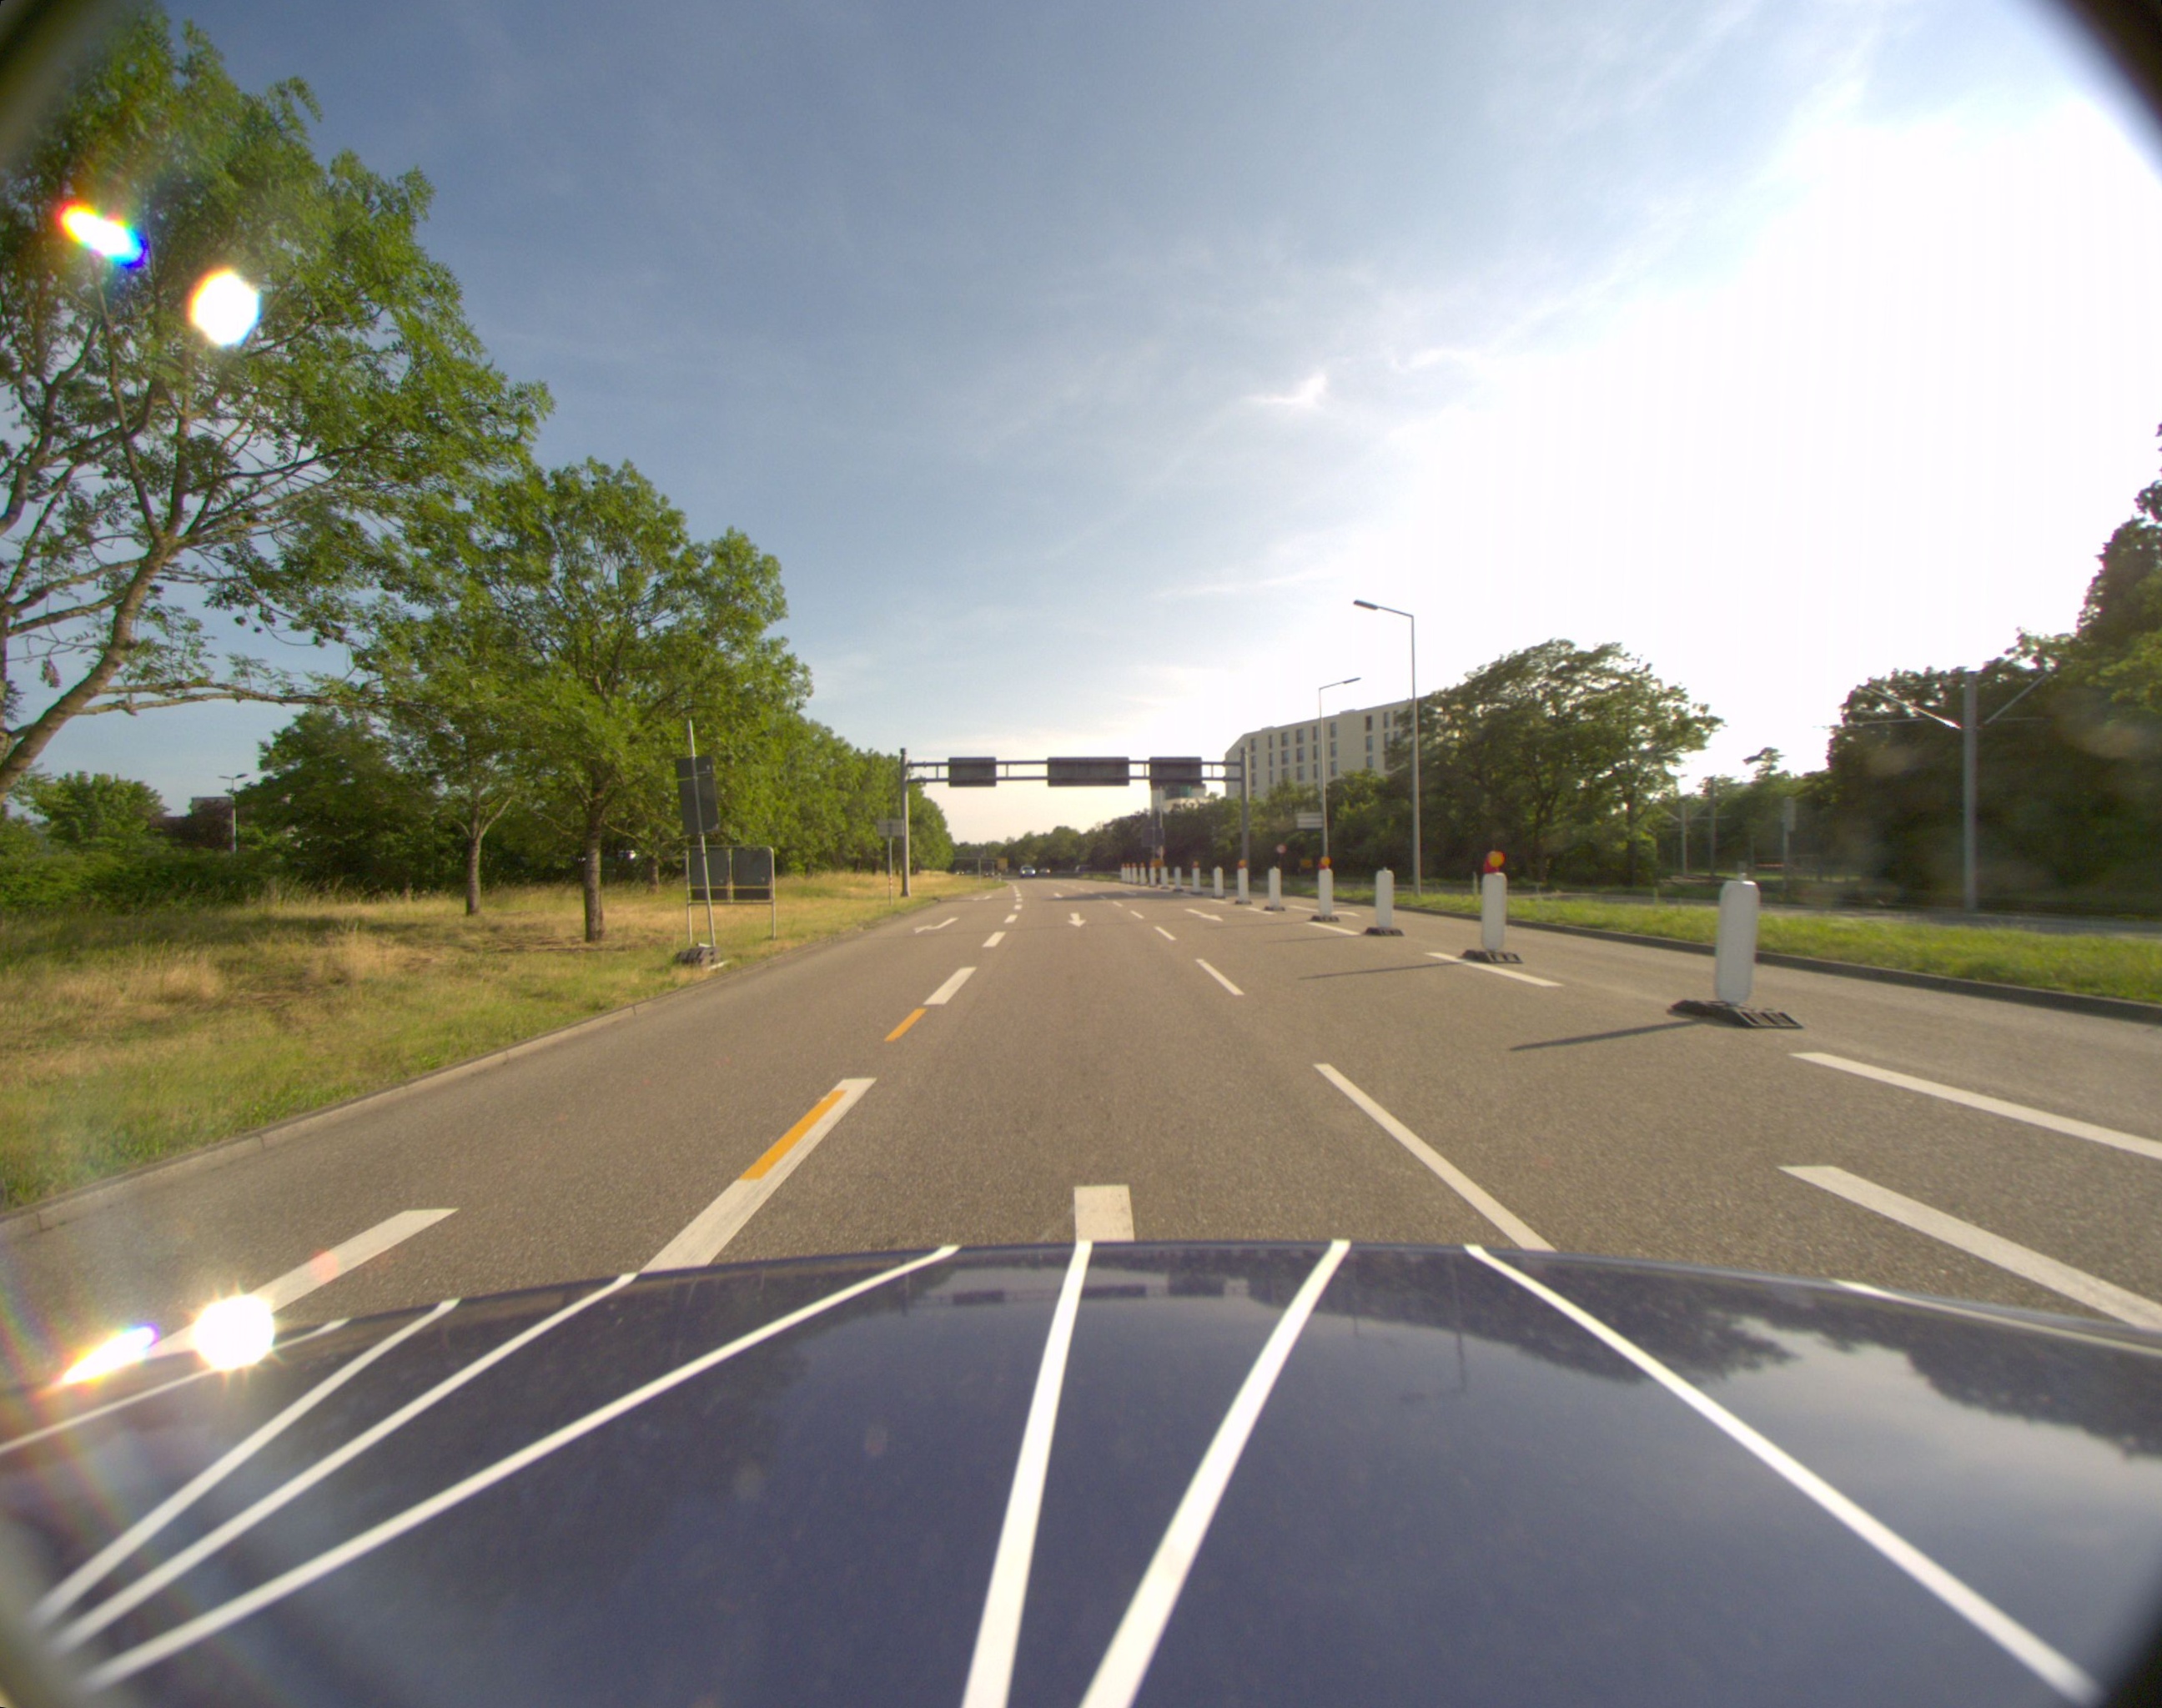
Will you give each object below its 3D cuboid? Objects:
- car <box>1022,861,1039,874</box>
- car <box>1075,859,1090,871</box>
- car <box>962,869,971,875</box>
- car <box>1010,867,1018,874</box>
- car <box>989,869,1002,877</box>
[{"bbox_3d":[-7.583,1.996,113.689,1.903,1.813,4.351,-2,0,-13],"label":"car"},{"bbox_3d":[0.256,1.769,118.054,1.790,1.796,4.121,-1,-1,-7],"label":"car"},{"bbox_3d":[-32.216,4.991,213.927,1.897,1.447,3.904,-1,0,-14],"label":"car"},{"bbox_3d":[-16.521,4.081,187.142,1.737,1.602,3.521,-2,0,-11],"label":"car"},{"bbox_3d":[-15.872,3.579,140.841,1.903,1.377,4.351,-2,0,-13],"label":"car"}]
